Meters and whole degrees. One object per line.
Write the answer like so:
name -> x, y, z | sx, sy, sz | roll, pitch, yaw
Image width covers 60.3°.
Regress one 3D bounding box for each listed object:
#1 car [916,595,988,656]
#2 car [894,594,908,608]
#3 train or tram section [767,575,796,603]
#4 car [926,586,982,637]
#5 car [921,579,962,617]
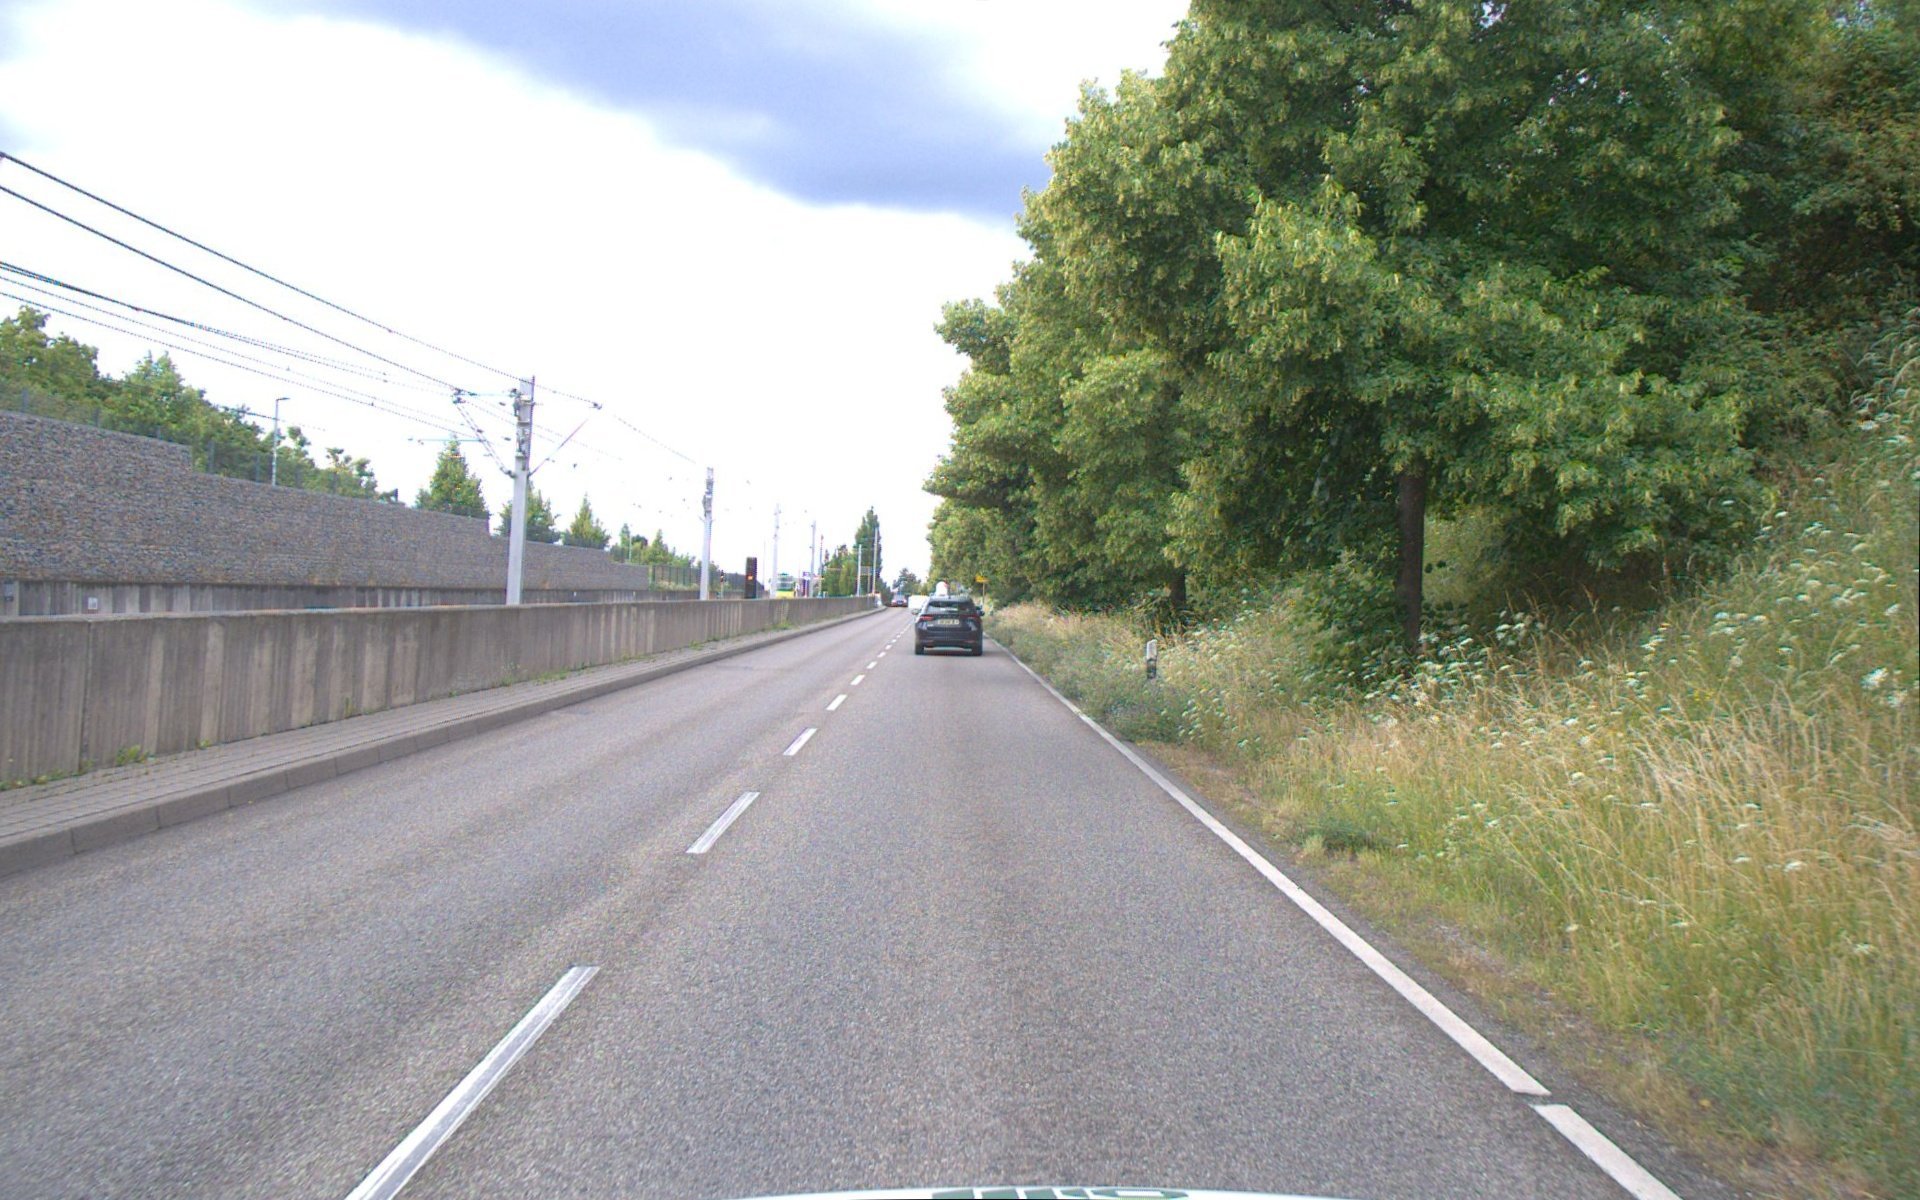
car -> -0.222, 0.620, 42.850 | 1.745, 1.493, 3.999 | 1, 0, -1
car -> -6.911, 0.135, 193.955 | 1.629, 1.572, 3.951 | 1, 0, -1
train or tram section -> -22.428, -1.292, 207.073 | 2.759, 3.172, 18.874 | 1, -1, -9
car -> -0.231, 0.410, 60.557 | 1.953, 1.783, 3.999 | 1, 0, -1
car -> -0.905, -0.066, 81.840 | 1.953, 1.771, 3.999 | 1, -1, -1
